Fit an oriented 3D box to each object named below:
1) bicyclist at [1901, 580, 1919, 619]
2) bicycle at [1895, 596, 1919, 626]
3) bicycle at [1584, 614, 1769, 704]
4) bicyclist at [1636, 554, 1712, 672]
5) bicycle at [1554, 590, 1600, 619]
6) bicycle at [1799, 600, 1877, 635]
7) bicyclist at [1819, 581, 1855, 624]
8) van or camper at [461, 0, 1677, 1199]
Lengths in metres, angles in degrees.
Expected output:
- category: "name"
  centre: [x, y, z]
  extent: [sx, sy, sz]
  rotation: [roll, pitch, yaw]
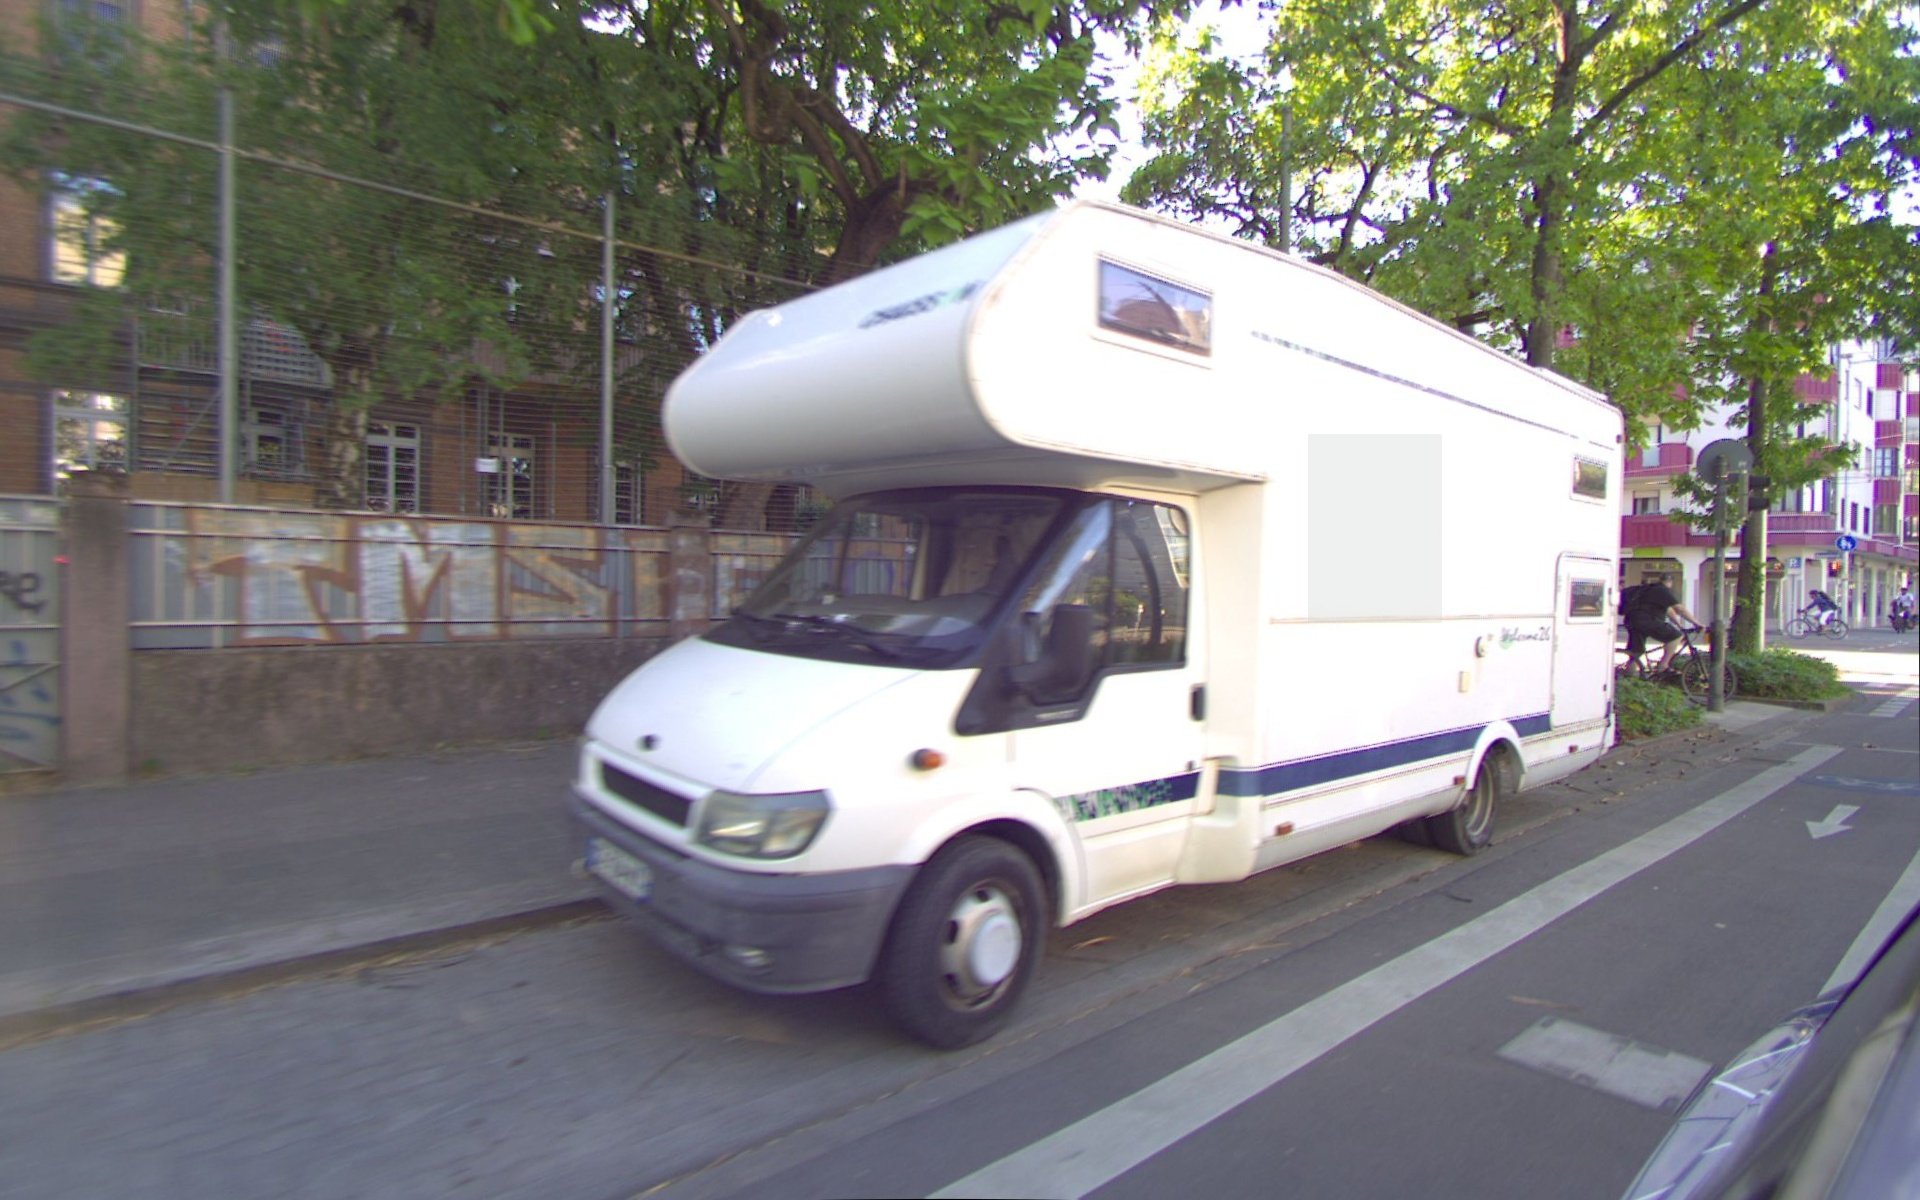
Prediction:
- category: "bicyclist"
  centre: [39.748, -0.021, 41.776]
  extent: [1.050, 1.559, 1.069]
  rotation: [1, 1, 28]
- category: "bicycle"
  centre: [39.753, 0.468, 41.810]
  extent: [0.954, 1.198, 2.573]
  rotation: [1, 1, 27]
- category: "bicycle"
  centre: [9.575, 0.764, 13.625]
  extent: [1.931, 1.083, 0.636]
  rotation: [1, 1, 26]
- category: "bicyclist"
  centre: [9.585, 0.155, 13.615]
  extent: [0.695, 1.529, 0.744]
  rotation: [1, 0, 26]
- category: "bicycle"
  centre: [26.924, 0.192, 44.177]
  extent: [0.603, 1.214, 1.801]
  rotation: [0, 1, -12]
- category: "bicycle"
  centre: [31.112, 0.610, 35.906]
  extent: [2.029, 1.204, 0.583]
  rotation: [1, 0, 34]
- category: "bicyclist"
  centre: [31.105, 0.087, 35.910]
  extent: [0.876, 1.513, 0.715]
  rotation: [0, 0, 34]
- category: "van or camper"
  centre: [1.511, -0.207, 5.757]
  extent: [7.419, 3.163, 2.381]
  rotation: [0, 4, -41]
